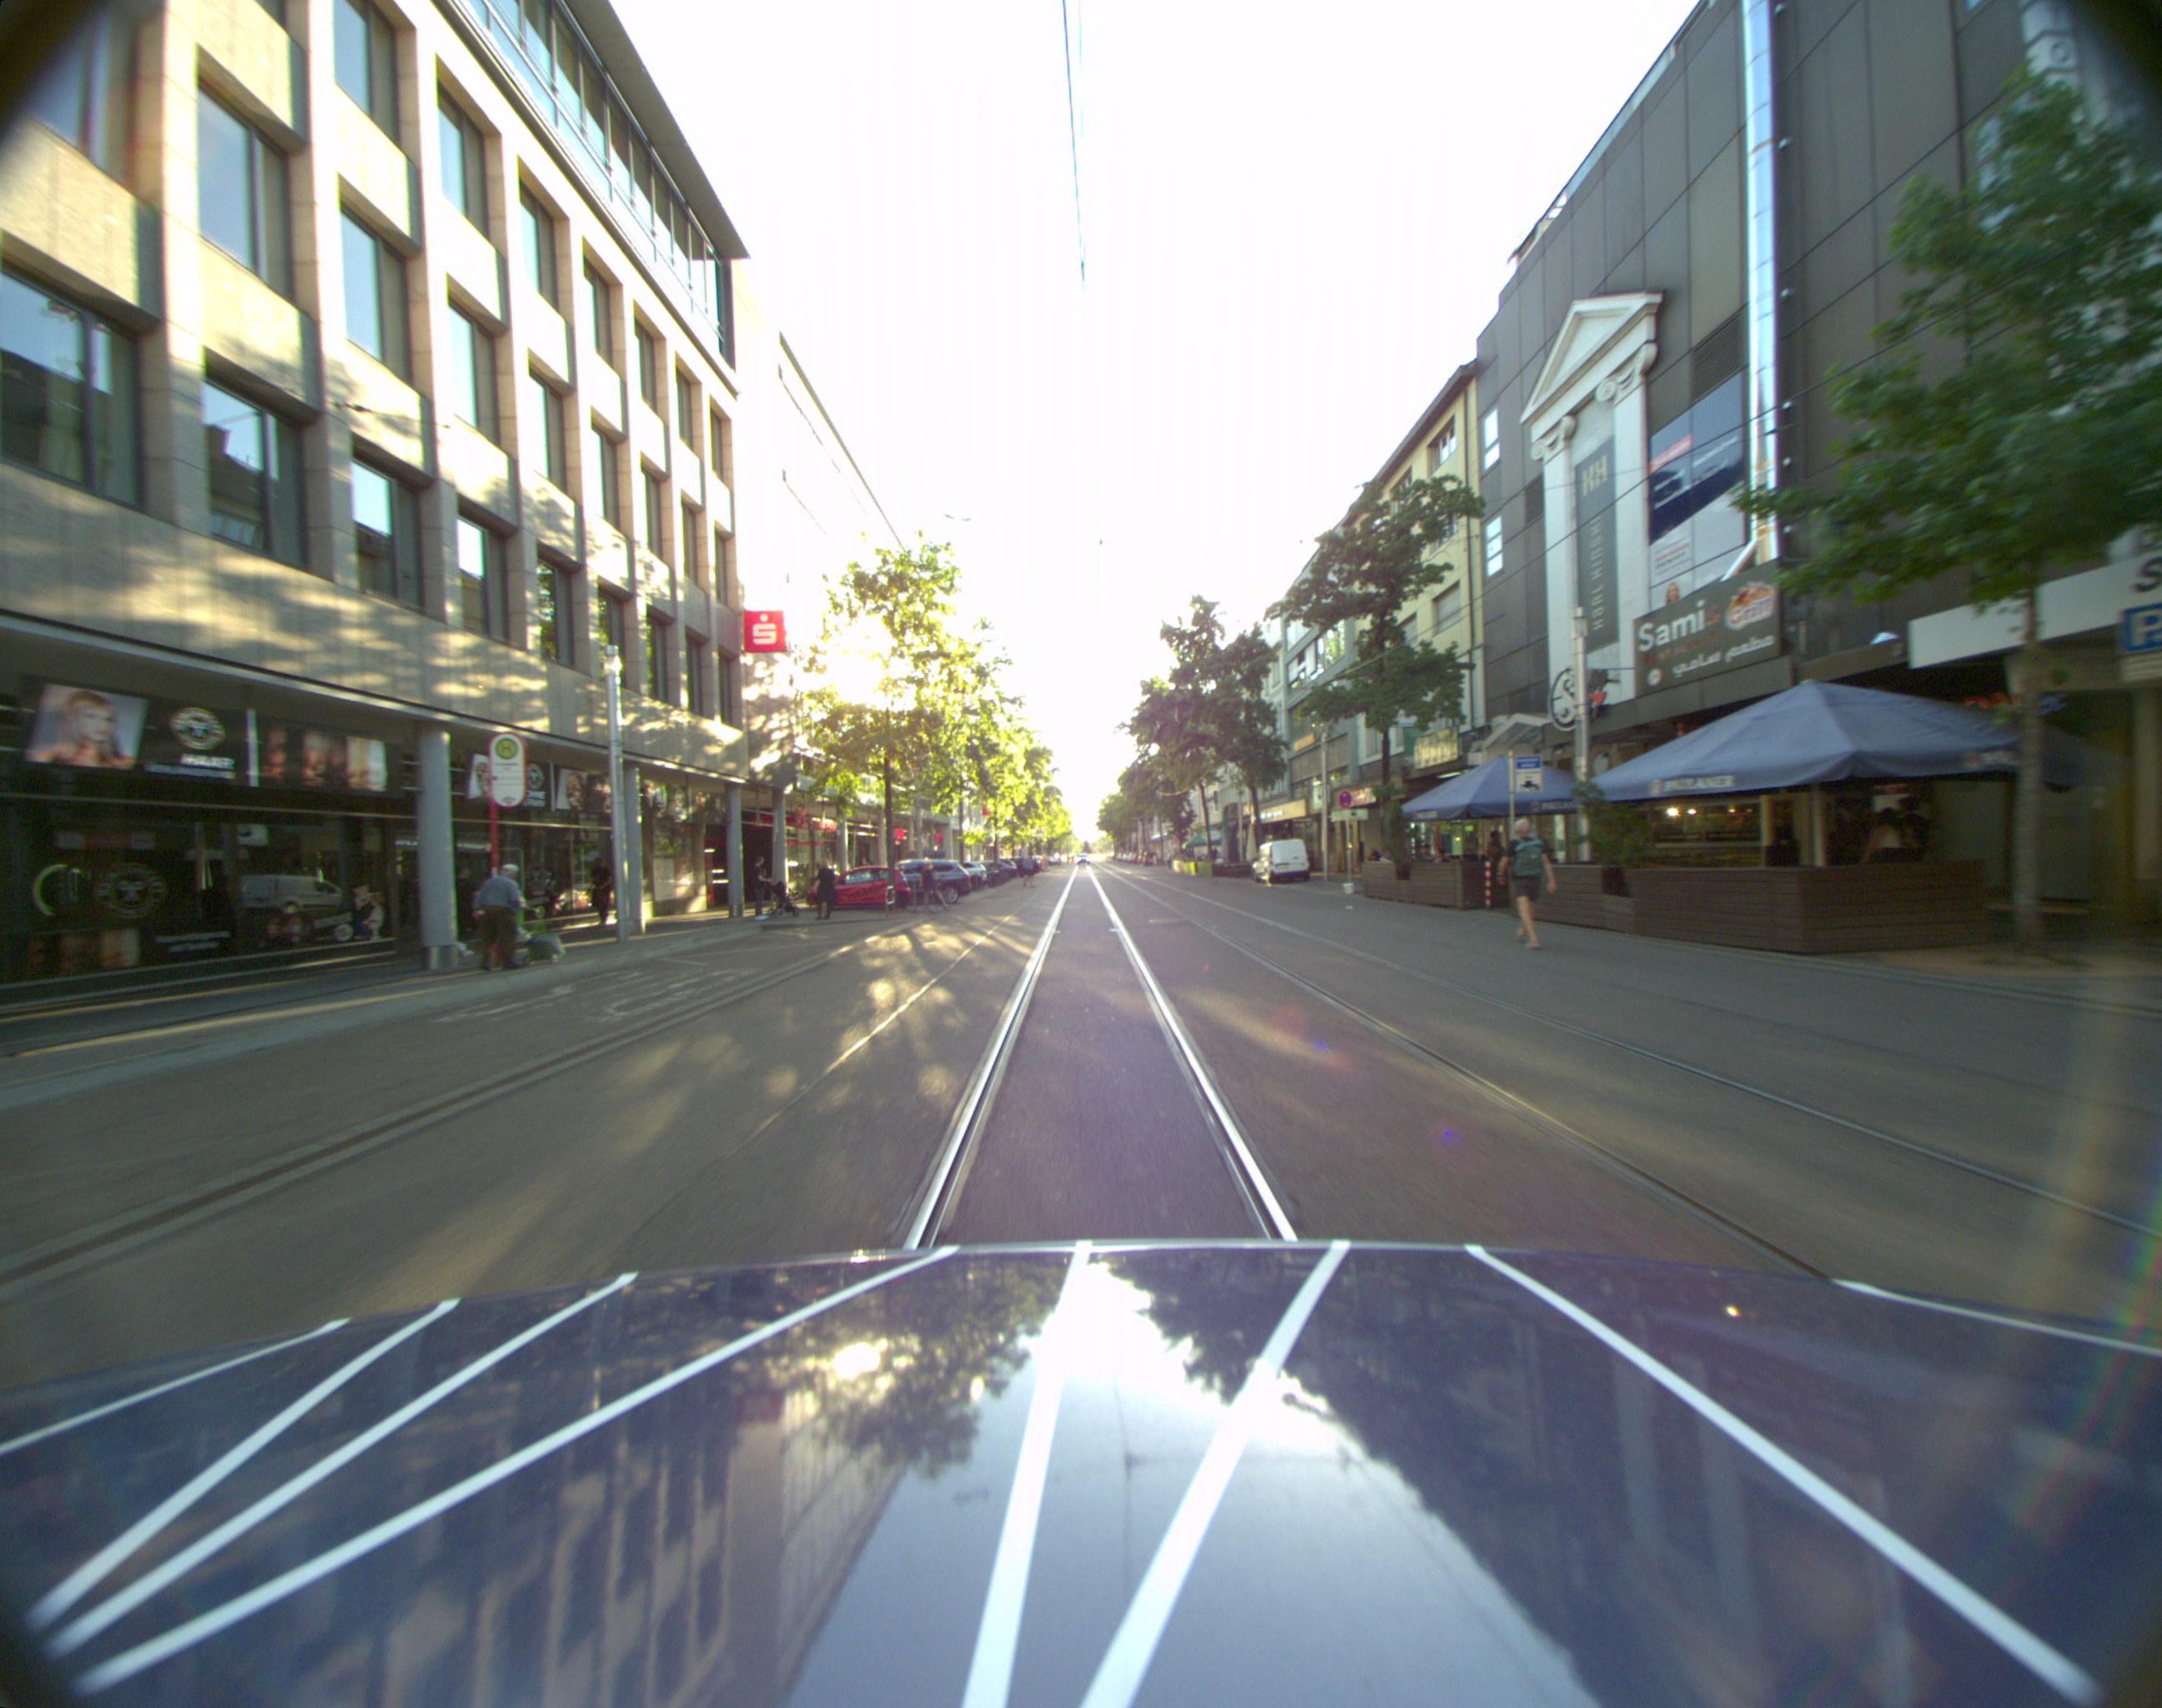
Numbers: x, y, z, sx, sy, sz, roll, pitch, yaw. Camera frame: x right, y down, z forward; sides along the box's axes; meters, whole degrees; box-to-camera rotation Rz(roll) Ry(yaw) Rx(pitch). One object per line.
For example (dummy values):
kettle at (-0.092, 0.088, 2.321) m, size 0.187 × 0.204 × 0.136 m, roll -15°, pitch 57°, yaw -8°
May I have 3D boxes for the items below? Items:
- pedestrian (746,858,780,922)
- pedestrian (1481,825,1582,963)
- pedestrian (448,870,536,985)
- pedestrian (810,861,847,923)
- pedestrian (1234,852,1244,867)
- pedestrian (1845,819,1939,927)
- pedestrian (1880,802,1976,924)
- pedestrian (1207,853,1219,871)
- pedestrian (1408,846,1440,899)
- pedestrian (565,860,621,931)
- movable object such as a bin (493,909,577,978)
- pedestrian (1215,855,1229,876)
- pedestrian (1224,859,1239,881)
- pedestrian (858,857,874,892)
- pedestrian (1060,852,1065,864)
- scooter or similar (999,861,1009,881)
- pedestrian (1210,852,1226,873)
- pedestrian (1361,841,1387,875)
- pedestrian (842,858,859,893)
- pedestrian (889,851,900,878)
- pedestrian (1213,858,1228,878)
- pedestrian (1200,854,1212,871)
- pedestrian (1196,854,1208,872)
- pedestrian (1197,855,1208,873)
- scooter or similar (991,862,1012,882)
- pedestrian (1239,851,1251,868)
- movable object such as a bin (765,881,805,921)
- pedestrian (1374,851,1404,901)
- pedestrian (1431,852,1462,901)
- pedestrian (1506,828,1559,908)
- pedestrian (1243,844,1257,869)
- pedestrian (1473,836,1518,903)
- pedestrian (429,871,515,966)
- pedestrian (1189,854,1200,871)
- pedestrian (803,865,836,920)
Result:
pedestrian at (-8.838, 0.989, 21.134) m, size 0.687 × 1.721 × 0.634 m, roll 1°, pitch 1°, yaw 42°
pedestrian at (6.181, 0.533, 10.467) m, size 0.843 × 1.790 × 0.790 m, roll -4°, pitch 1°, yaw 1°
pedestrian at (-8.510, 1.043, 11.002) m, size 0.683 × 1.563 × 0.632 m, roll -4°, pitch 1°, yaw 1°
pedestrian at (-6.979, 1.030, 21.024) m, size 0.679 × 1.675 × 0.697 m, roll 1°, pitch 1°, yaw 34°
pedestrian at (12.518, 0.441, 60.249) m, size 0.553 × 1.155 × 0.687 m, roll -4°, pitch 1°, yaw 1°
pedestrian at (11.993, 0.269, 11.256) m, size 0.598 × 1.524 × 0.671 m, roll -4°, pitch 1°, yaw 1°
pedestrian at (12.584, 0.134, 11.301) m, size 0.598 × 1.735 × 0.671 m, roll -4°, pitch 1°, yaw 1°
pedestrian at (9.441, 0.594, 54.348) m, size 0.620 × 1.237 × 0.697 m, roll -5°, pitch 1°, yaw 0°
pedestrian at (9.501, 0.496, 21.065) m, size 0.551 × 1.421 × 0.582 m, roll -3°, pitch 1°, yaw 0°
pedestrian at (-12.533, 1.050, 19.526) m, size 0.846 × 1.774 × 0.782 m, roll -2°, pitch 1°, yaw 1°
movable object such as a bin at (-8.288, 1.348, 11.558) m, size 0.691 × 0.918 × 0.718 m, roll -4°, pitch 0°, yaw 1°
pedestrian at (8.785, 0.710, 47.304) m, size 0.658 × 1.186 × 0.798 m, roll -5°, pitch 1°, yaw 0°
pedestrian at (9.518, 1.005, 48.007) m, size 0.658 × 1.286 × 0.798 m, roll -5°, pitch 1°, yaw 0°
pedestrian at (-10.721, 1.000, 37.844) m, size 0.626 × 1.733 × 0.599 m, roll -1°, pitch 1°, yaw -2°
pedestrian at (-2.836, 0.569, 118.554) m, size 0.705 × 1.858 × 0.792 m, roll -2°, pitch 1°, yaw -2°
scooter or similar at (-5.154, 1.146, 50.888) m, size 0.452 × 1.269 × 1.306 m, roll 2°, pitch 1°, yaw -1°
pedestrian at (9.202, 0.560, 51.070) m, size 0.756 × 1.335 × 0.872 m, roll -5°, pitch 1°, yaw 0°
pedestrian at (13.480, 0.188, 34.957) m, size 0.771 × 1.458 × 0.765 m, roll -5°, pitch 1°, yaw -2°
pedestrian at (-11.323, 1.055, 37.356) m, size 0.625 × 1.733 × 0.600 m, roll 0°, pitch 1°, yaw 6°
pedestrian at (-12.015, 0.671, 48.868) m, size 0.558 × 1.740 × 0.525 m, roll 0°, pitch 1°, yaw 0°
pedestrian at (8.807, 0.890, 48.054) m, size 0.658 × 1.237 × 0.872 m, roll -5°, pitch 1°, yaw 0°
pedestrian at (9.575, 0.629, 58.296) m, size 0.709 × 1.252 × 0.869 m, roll -4°, pitch 1°, yaw 3°
pedestrian at (8.817, 0.653, 55.333) m, size 0.620 × 1.237 × 0.697 m, roll -5°, pitch 1°, yaw 0°
pedestrian at (8.673, 0.686, 54.255) m, size 0.620 × 1.237 × 0.697 m, roll -5°, pitch 1°, yaw 0°
scooter or similar at (-5.428, 1.228, 51.847) m, size 1.309 × 1.269 × 0.563 m, roll 1°, pitch 1°, yaw -31°
pedestrian at (12.243, 0.378, 56.822) m, size 0.671 × 1.235 × 0.799 m, roll -4°, pitch 1°, yaw 0°
movable object such as a bin at (-8.419, 1.326, 21.601) m, size 0.687 × 1.057 × 0.835 m, roll 1°, pitch 1°, yaw 42°
pedestrian at (8.554, 0.593, 21.121) m, size 0.551 × 1.348 × 0.582 m, roll -3°, pitch 1°, yaw 0°
pedestrian at (9.494, 0.582, 19.755) m, size 0.496 × 1.221 × 0.535 m, roll -3°, pitch 1°, yaw 0°
pedestrian at (10.136, 0.312, 17.081) m, size 0.719 × 1.714 × 0.675 m, roll -3°, pitch 1°, yaw -1°
pedestrian at (11.235, 0.156, 50.642) m, size 0.649 × 1.565 × 0.700 m, roll -5°, pitch 1°, yaw 0°
pedestrian at (10.300, 0.370, 18.895) m, size 0.675 × 1.598 × 0.719 m, roll -3°, pitch 1°, yaw 0°
pedestrian at (-10.776, 1.114, 13.474) m, size 0.697 × 1.580 × 0.925 m, roll -2°, pitch 0°, yaw 1°
pedestrian at (8.704, 0.662, 58.308) m, size 0.709 × 1.252 × 0.772 m, roll -4°, pitch 1°, yaw 3°
pedestrian at (-7.483, 1.089, 21.721) m, size 0.606 × 1.543 × 0.691 m, roll 1°, pitch 1°, yaw 44°
